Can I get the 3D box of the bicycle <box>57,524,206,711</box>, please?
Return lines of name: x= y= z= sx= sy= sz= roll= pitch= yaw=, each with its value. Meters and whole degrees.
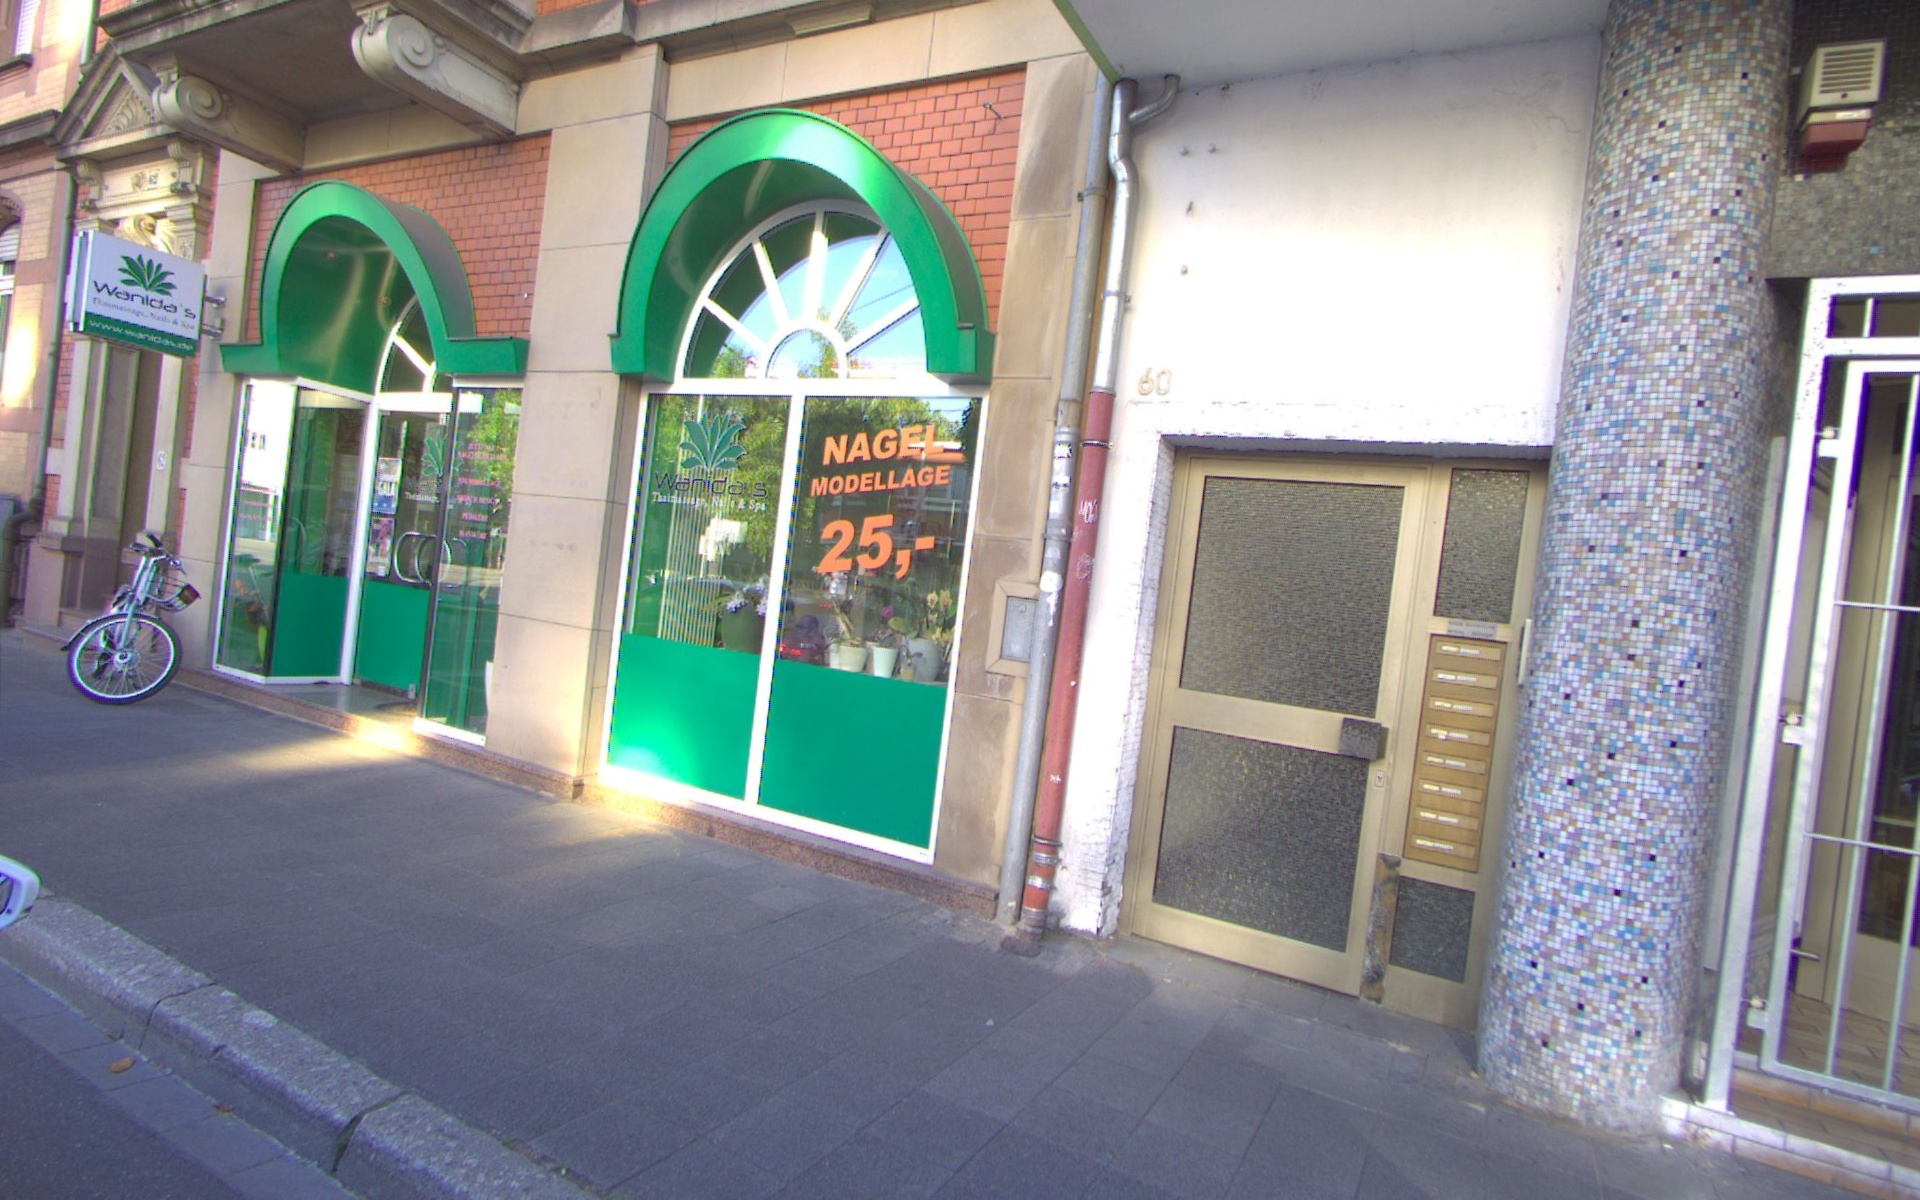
bicycle: x=-6.073 y=0.094 z=7.342 sx=0.712 sy=1.167 sz=1.635 roll=4 pitch=2 yaw=-42
